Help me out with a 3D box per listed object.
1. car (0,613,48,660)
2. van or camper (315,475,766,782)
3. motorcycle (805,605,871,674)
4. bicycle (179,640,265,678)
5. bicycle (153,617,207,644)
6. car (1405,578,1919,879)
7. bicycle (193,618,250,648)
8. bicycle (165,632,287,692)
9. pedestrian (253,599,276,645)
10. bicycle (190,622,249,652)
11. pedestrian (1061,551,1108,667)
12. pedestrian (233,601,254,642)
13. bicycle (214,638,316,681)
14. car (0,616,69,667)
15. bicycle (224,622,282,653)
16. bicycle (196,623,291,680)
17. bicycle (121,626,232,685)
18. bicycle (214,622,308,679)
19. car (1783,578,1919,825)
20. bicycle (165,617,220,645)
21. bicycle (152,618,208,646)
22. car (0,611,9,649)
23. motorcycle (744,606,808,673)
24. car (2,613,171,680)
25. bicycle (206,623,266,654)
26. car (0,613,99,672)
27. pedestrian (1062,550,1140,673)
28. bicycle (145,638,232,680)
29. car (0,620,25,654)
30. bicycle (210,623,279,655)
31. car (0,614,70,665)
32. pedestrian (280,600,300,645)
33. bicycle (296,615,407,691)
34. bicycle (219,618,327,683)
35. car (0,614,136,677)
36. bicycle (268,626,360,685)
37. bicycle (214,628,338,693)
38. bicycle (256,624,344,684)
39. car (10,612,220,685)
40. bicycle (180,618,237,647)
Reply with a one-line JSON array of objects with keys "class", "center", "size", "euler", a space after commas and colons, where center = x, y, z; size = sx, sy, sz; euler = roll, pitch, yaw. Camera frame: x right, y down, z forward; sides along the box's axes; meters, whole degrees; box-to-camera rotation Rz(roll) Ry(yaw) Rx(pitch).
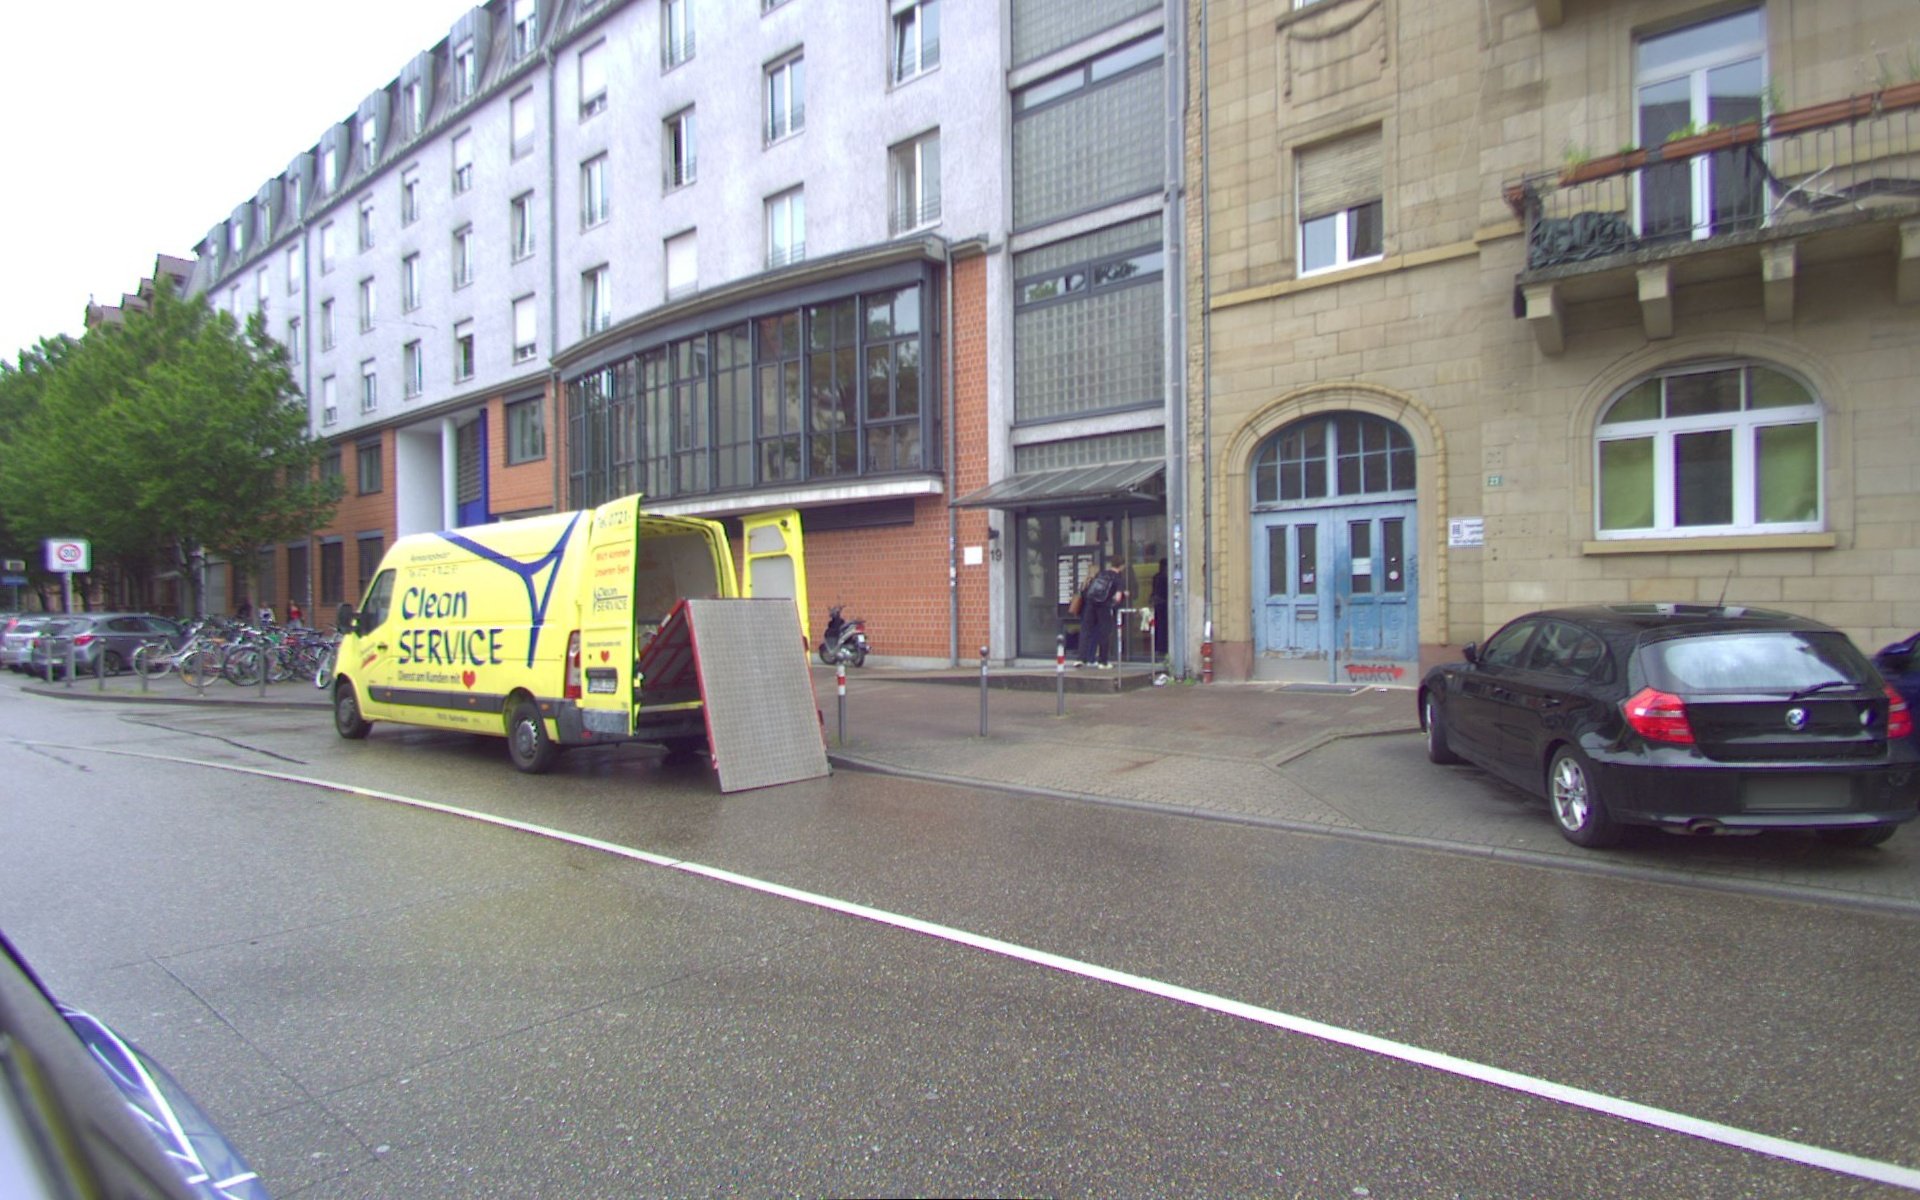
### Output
[{"class": "car", "center": [-33.063, 1.272, 34.561], "size": [1.138, 1.567, 2.672], "euler": [-1, 0, 11]}, {"class": "van or camper", "center": [-4.963, 0.302, 11.420], "size": [5.936, 2.631, 2.174], "euler": [-1, -2, 39]}, {"class": "motorcycle", "center": [-2.241, 0.693, 18.472], "size": [0.516, 1.190, 1.763], "euler": [-1, 0, -30]}, {"class": "bicycle", "center": [-16.358, 1.288, 22.448], "size": [0.497, 0.727, 1.454], "euler": [-1, 1, 43]}, {"class": "bicycle", "center": [-29.798, 1.159, 38.679], "size": [0.464, 0.992, 1.573], "euler": [-1, -1, 32]}, {"class": "car", "center": [4.736, 0.679, 7.178], "size": [1.777, 1.523, 4.034], "euler": [0, -1, 7]}, {"class": "bicycle", "center": [-25.627, 1.144, 35.145], "size": [0.444, 0.992, 1.573], "euler": [-1, -1, 32]}, {"class": "bicycle", "center": [-13.798, 1.140, 19.072], "size": [0.519, 1.000, 1.778], "euler": [-1, 1, 38]}, {"class": "pedestrian", "center": [-24.907, 0.789, 36.252], "size": [0.372, 1.622, 0.598], "euler": [-1, -1, 39]}, {"class": "bicycle", "center": [-25.290, 1.253, 34.577], "size": [0.444, 0.992, 1.573], "euler": [-1, -1, 32]}, {"class": "pedestrian", "center": [1.927, 0.144, 15.684], "size": [0.467, 1.761, 0.608], "euler": [0, -2, -24]}, {"class": "pedestrian", "center": [-28.412, 0.862, 40.128], "size": [0.533, 1.609, 0.564], "euler": [-1, -1, 41]}, {"class": "bicycle", "center": [-14.507, 1.218, 21.165], "size": [0.455, 0.767, 1.757], "euler": [-1, 1, 27]}, {"class": "car", "center": [-29.080, 1.254, 31.120], "size": [1.177, 1.461, 2.502], "euler": [-1, 0, 0]}, {"class": "bicycle", "center": [-23.849, 1.260, 34.163], "size": [0.444, 0.992, 1.573], "euler": [-1, -1, 32]}, {"class": "bicycle", "center": [-15.531, 1.094, 21.978], "size": [0.519, 1.114, 1.591], "euler": [-1, 1, 35]}, {"class": "bicycle", "center": [-16.590, 1.151, 21.473], "size": [0.472, 1.114, 1.791], "euler": [-1, 1, 35]}, {"class": "bicycle", "center": [-14.946, 1.064, 21.668], "size": [0.517, 1.114, 1.596], "euler": [-1, 1, 27]}, {"class": "car", "center": [6.914, 0.639, 5.725], "size": [1.780, 1.585, 4.029], "euler": [-1, -1, 11]}, {"class": "bicycle", "center": [-28.843, 1.160, 38.054], "size": [0.464, 0.992, 1.573], "euler": [-1, -1, 32]}, {"class": "bicycle", "center": [-28.535, 1.151, 37.028], "size": [0.464, 0.992, 1.573], "euler": [-1, -1, 32]}, {"class": "car", "center": [-48.723, 1.468, 48.838], "size": [1.666, 1.910, 4.330], "euler": [0, -1, -1]}, {"class": "motorcycle", "center": [-3.532, 0.723, 19.309], "size": [0.516, 1.190, 2.010], "euler": [-1, 0, -30]}, {"class": "car", "center": [-22.157, 1.144, 25.807], "size": [1.436, 1.514, 3.070], "euler": [-1, 0, 9]}, {"class": "bicycle", "center": [-23.832, 1.250, 33.336], "size": [0.444, 0.992, 1.573], "euler": [-1, -1, 32]}, {"class": "car", "center": [-26.674, 1.191, 28.964], "size": [1.432, 1.564, 3.078], "euler": [-1, 0, 0]}, {"class": "pedestrian", "center": [2.080, 0.166, 14.873], "size": [0.785, 1.741, 0.997], "euler": [-1, -1, 31]}, {"class": "bicycle", "center": [-17.137, 1.293, 22.493], "size": [0.497, 0.811, 1.454], "euler": [-1, 1, 43]}, {"class": "car", "center": [-43.508, 1.628, 44.551], "size": [1.662, 1.502, 3.798], "euler": [0, -1, -10]}, {"class": "bicycle", "center": [-23.392, 1.250, 33.125], "size": [0.444, 0.992, 1.831], "euler": [-1, -1, 32]}, {"class": "car", "center": [-30.952, 1.285, 32.789], "size": [1.358, 1.567, 2.971], "euler": [-1, 0, 11]}, {"class": "pedestrian", "center": [-24.252, 0.806, 36.647], "size": [0.425, 1.622, 0.508], "euler": [-1, -1, 41]}, {"class": "bicycle", "center": [-11.217, 0.944, 18.745], "size": [0.760, 1.225, 1.917], "euler": [0, 3, 5]}, {"class": "bicycle", "center": [-14.071, 1.011, 20.776], "size": [0.517, 1.203, 1.798], "euler": [-1, 1, 27]}, {"class": "car", "center": [-24.256, 1.186, 27.359], "size": [1.432, 1.514, 3.078], "euler": [-1, 0, 0]}, {"class": "bicycle", "center": [-12.681, 1.070, 19.892], "size": [0.418, 1.072, 1.442], "euler": [-1, 1, 44]}, {"class": "bicycle", "center": [-12.795, 1.103, 18.968], "size": [1.832, 1.081, 0.610], "euler": [-2, 1, -45]}, {"class": "bicycle", "center": [-13.282, 1.063, 20.380], "size": [1.439, 1.111, 0.462], "euler": [-2, 1, -36]}, {"class": "car", "center": [-19.857, 1.086, 23.998], "size": [1.720, 1.514, 3.614], "euler": [0, 0, 9]}, {"class": "bicycle", "center": [-26.585, 1.146, 35.815], "size": [0.464, 0.992, 1.573], "euler": [-1, -1, 32]}]
